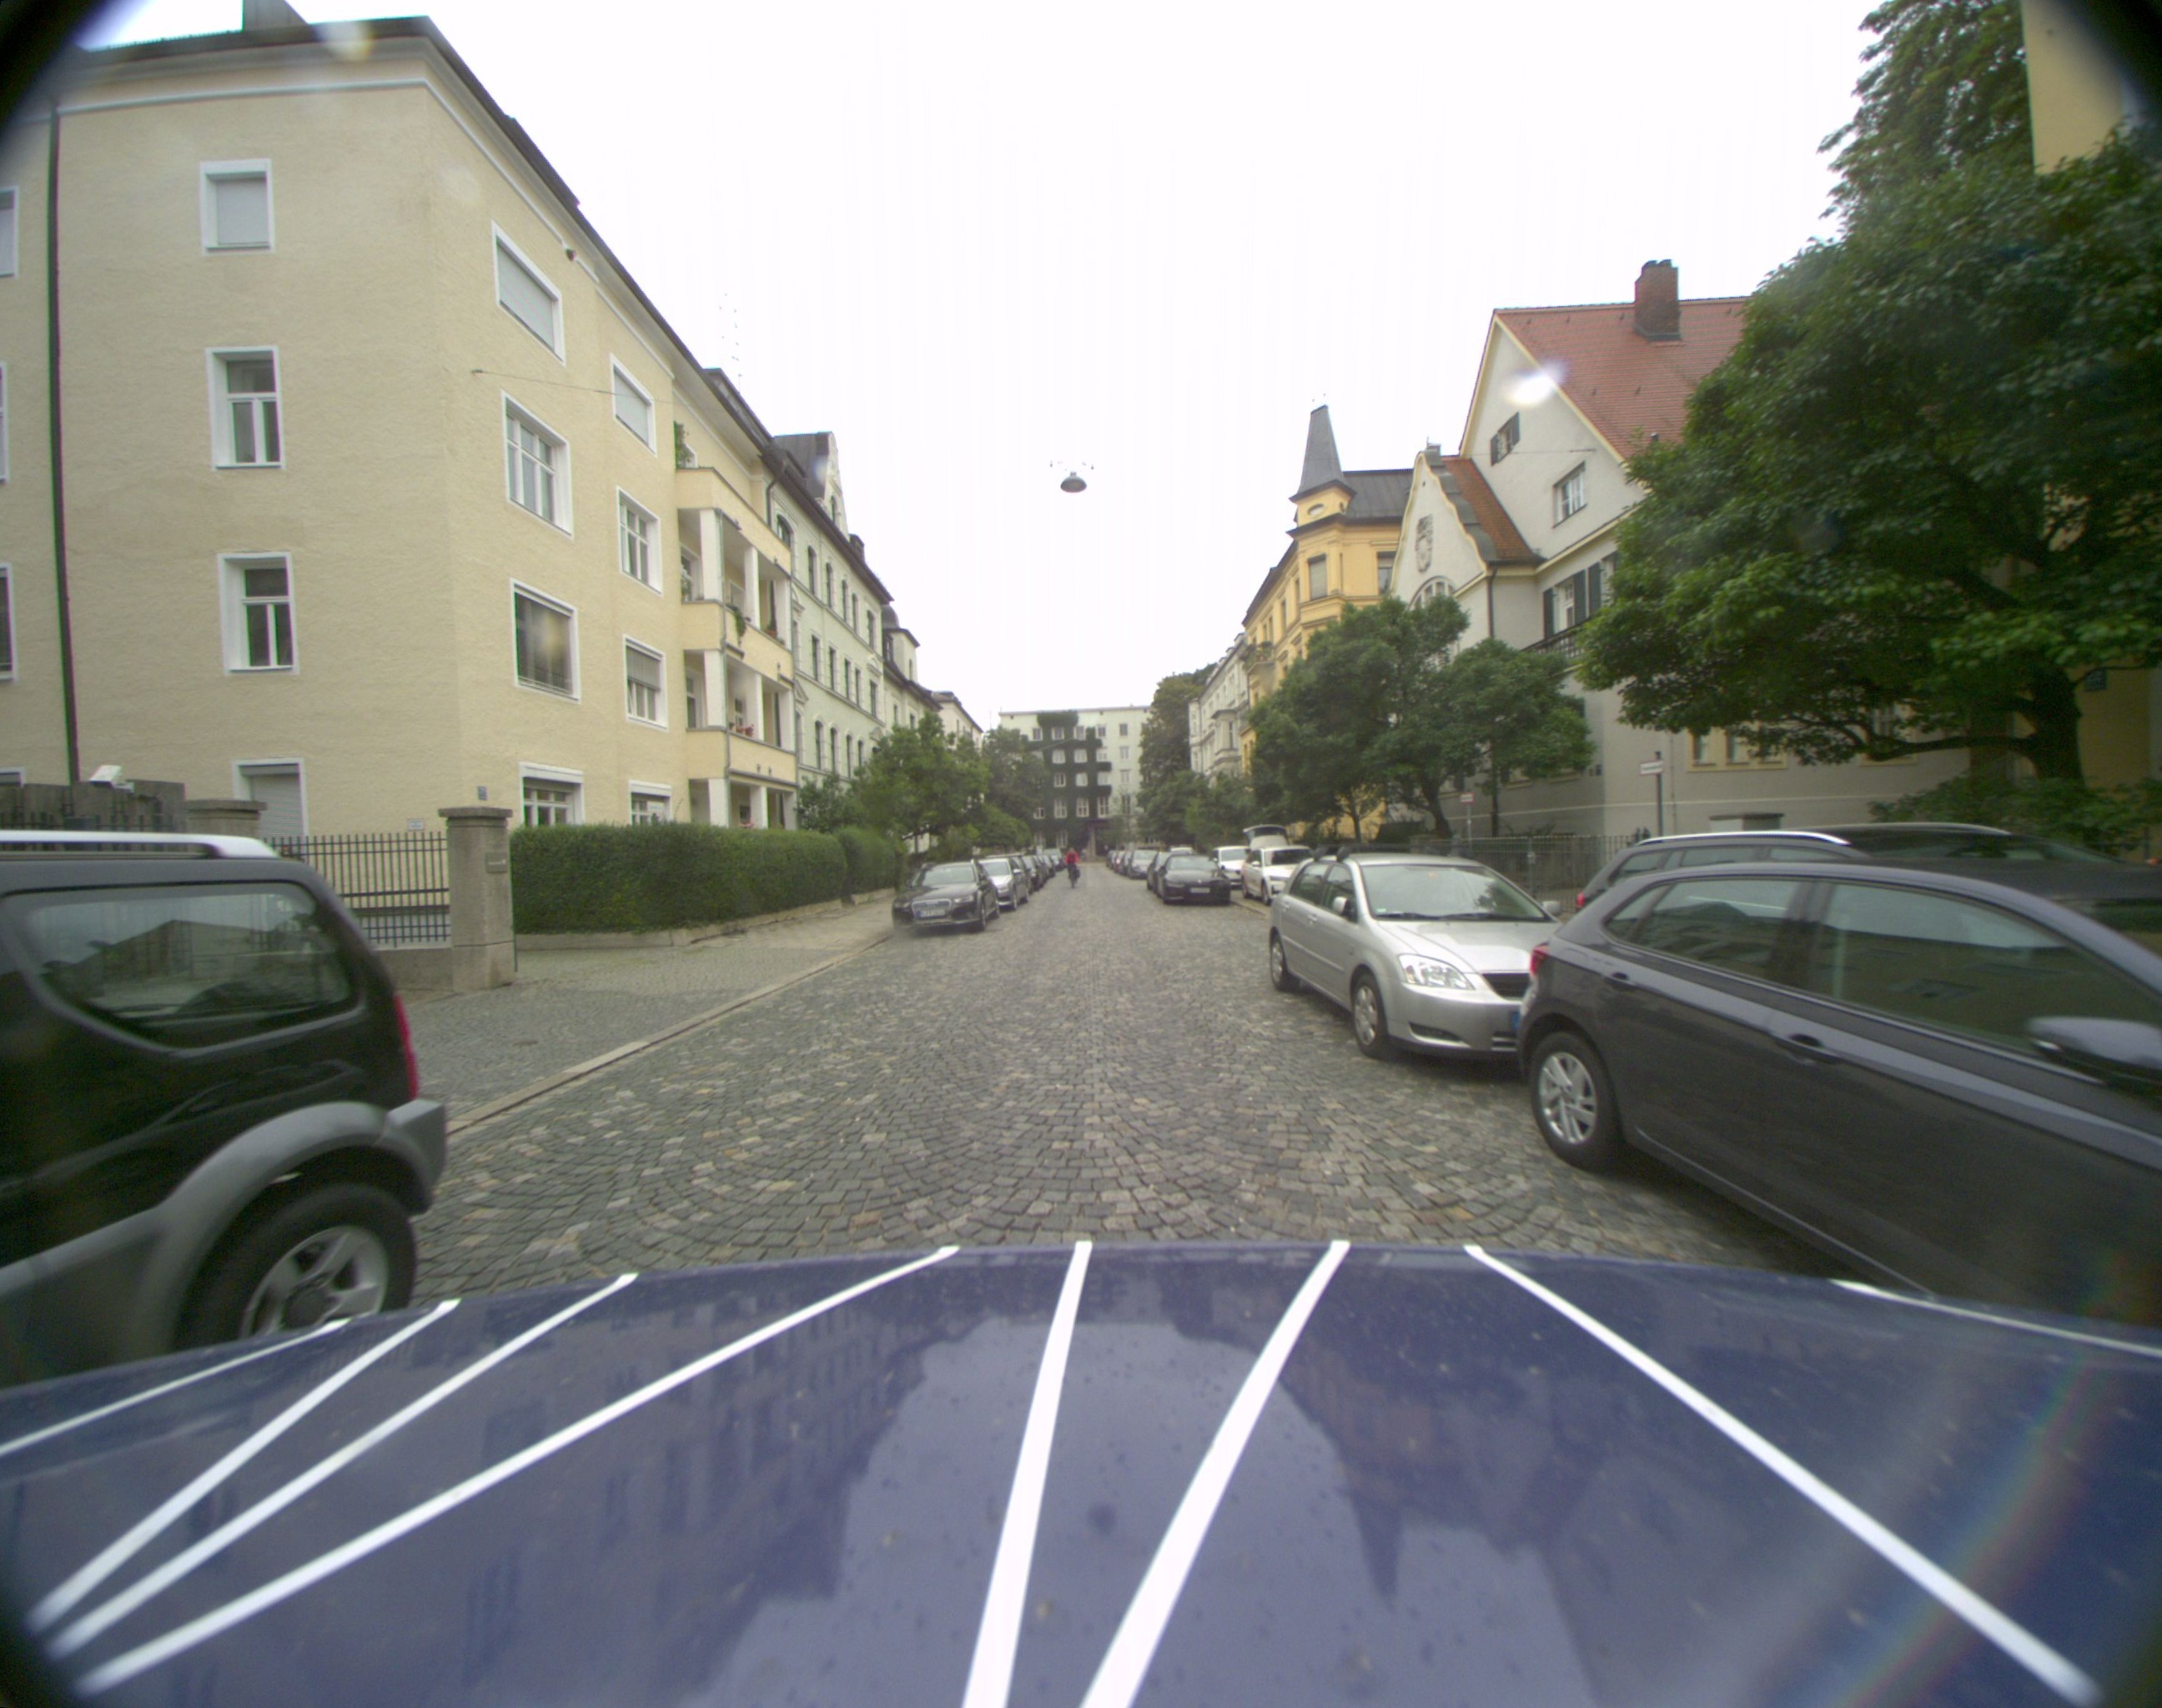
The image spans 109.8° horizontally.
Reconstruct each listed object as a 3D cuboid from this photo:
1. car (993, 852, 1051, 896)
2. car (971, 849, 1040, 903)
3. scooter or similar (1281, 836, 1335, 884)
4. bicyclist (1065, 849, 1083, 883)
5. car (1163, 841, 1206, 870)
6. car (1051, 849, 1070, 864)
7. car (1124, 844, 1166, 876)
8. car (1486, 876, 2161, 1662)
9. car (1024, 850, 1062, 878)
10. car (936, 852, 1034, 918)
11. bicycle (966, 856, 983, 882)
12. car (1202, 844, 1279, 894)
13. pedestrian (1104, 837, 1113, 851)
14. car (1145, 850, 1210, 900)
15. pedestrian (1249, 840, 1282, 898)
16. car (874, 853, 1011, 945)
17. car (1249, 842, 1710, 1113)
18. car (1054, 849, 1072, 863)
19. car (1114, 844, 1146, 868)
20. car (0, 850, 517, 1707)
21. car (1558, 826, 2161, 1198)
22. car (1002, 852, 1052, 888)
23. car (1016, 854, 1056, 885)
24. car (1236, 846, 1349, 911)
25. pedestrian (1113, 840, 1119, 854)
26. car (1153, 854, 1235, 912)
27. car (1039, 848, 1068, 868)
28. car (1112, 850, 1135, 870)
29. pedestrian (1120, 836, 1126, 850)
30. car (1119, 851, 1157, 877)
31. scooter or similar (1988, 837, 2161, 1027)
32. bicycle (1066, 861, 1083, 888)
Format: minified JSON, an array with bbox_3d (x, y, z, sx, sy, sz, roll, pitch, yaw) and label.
[{"bbox_3d":[-2.432,0.782,32.471,1.823,1.480,5.049,-5,1,1],"label":"car"},{"bbox_3d":[-2.624,0.707,27.267,1.898,1.644,4.293,-4,1,0],"label":"car"},{"bbox_3d":[7.658,0.182,25.809,1.064,1.514,2.634,-2,1,1],"label":"scooter or similar"},{"bbox_3d":[-0.277,0.490,31.629,0.648,1.351,0.656,-4,2,0],"label":"bicyclist"},{"bbox_3d":[5.908,0.047,43.742,1.846,1.457,4.389,-4,1,1],"label":"car"},{"bbox_3d":[-1.998,0.187,74.577,1.744,1.367,4.181,-1,1,1],"label":"car"},{"bbox_3d":[3.360,0.294,40.575,1.744,1.577,4.190,-1,1,-2],"label":"car"},{"bbox_3d":[2.961,0.847,1.993,1.734,1.410,3.936,0,1,1],"label":"car"},{"bbox_3d":[-2.362,0.613,48.518,1.909,1.494,5.105,-5,1,1],"label":"car"},{"bbox_3d":[-2.665,0.804,22.329,1.998,1.543,4.985,-4,1,2],"label":"car"},{"bbox_3d":[-5.113,0.694,36.364,0.582,1.188,1.646,-3,1,-14],"label":"bicycle"},{"bbox_3d":[5.634,0.479,27.379,1.744,1.527,4.466,-4,1,0],"label":"car"},{"bbox_3d":[3.845,-1.423,106.114,0.703,1.905,0.861,-5,2,-30],"label":"pedestrian"},{"bbox_3d":[3.371,0.680,27.294,1.744,1.594,4.536,-1,1,0],"label":"car"},{"bbox_3d":[5.433,0.433,22.389,0.768,1.640,0.582,-3,1,2],"label":"pedestrian"},{"bbox_3d":[-2.890,0.870,17.111,1.998,1.543,5.014,-5,1,1],"label":"car"},{"bbox_3d":[2.784,0.691,6.577,1.718,1.553,4.390,-1,1,1],"label":"car"},{"bbox_3d":[-1.825,0.184,79.540,1.744,1.367,4.281,-1,1,1],"label":"car"},{"bbox_3d":[3.343,0.113,52.413,1.846,1.577,4.191,-1,1,-1],"label":"car"},{"bbox_3d":[-3.033,0.945,0.942,1.623,1.741,3.886,-5,1,0],"label":"car"},{"bbox_3d":[5.432,0.640,4.881,1.719,1.489,4.721,-5,1,1],"label":"car"},{"bbox_3d":[-2.600,0.725,37.702,1.887,1.480,4.813,-5,1,1],"label":"car"},{"bbox_3d":[-2.493,0.824,42.860,1.760,1.451,4.480,-5,1,1],"label":"car"},{"bbox_3d":[5.448,0.564,20.222,1.780,1.408,4.561,-4,1,2],"label":"car"},{"bbox_3d":[4.887,-0.941,106.352,0.701,1.905,0.862,-4,2,3],"label":"pedestrian"},{"bbox_3d":[3.186,0.748,22.304,1.819,1.447,4.912,0,1,2],"label":"car"},{"bbox_3d":[-2.254,0.282,63.838,1.942,1.457,4.532,-4,1,3],"label":"car"},{"bbox_3d":[3.486,0.495,63.109,1.814,1.490,4.510,-1,1,3],"label":"car"},{"bbox_3d":[5.852,-1.507,106.151,0.665,1.905,0.863,-4,2,9],"label":"pedestrian"},{"bbox_3d":[3.452,0.564,46.638,1.875,1.462,5.132,-1,1,-1],"label":"car"},{"bbox_3d":[7.645,0.516,5.220,0.958,1.193,1.522,-5,1,1],"label":"scooter or similar"},{"bbox_3d":[-0.262,0.833,31.669,0.636,1.021,1.955,-3,1,0],"label":"bicycle"}]
